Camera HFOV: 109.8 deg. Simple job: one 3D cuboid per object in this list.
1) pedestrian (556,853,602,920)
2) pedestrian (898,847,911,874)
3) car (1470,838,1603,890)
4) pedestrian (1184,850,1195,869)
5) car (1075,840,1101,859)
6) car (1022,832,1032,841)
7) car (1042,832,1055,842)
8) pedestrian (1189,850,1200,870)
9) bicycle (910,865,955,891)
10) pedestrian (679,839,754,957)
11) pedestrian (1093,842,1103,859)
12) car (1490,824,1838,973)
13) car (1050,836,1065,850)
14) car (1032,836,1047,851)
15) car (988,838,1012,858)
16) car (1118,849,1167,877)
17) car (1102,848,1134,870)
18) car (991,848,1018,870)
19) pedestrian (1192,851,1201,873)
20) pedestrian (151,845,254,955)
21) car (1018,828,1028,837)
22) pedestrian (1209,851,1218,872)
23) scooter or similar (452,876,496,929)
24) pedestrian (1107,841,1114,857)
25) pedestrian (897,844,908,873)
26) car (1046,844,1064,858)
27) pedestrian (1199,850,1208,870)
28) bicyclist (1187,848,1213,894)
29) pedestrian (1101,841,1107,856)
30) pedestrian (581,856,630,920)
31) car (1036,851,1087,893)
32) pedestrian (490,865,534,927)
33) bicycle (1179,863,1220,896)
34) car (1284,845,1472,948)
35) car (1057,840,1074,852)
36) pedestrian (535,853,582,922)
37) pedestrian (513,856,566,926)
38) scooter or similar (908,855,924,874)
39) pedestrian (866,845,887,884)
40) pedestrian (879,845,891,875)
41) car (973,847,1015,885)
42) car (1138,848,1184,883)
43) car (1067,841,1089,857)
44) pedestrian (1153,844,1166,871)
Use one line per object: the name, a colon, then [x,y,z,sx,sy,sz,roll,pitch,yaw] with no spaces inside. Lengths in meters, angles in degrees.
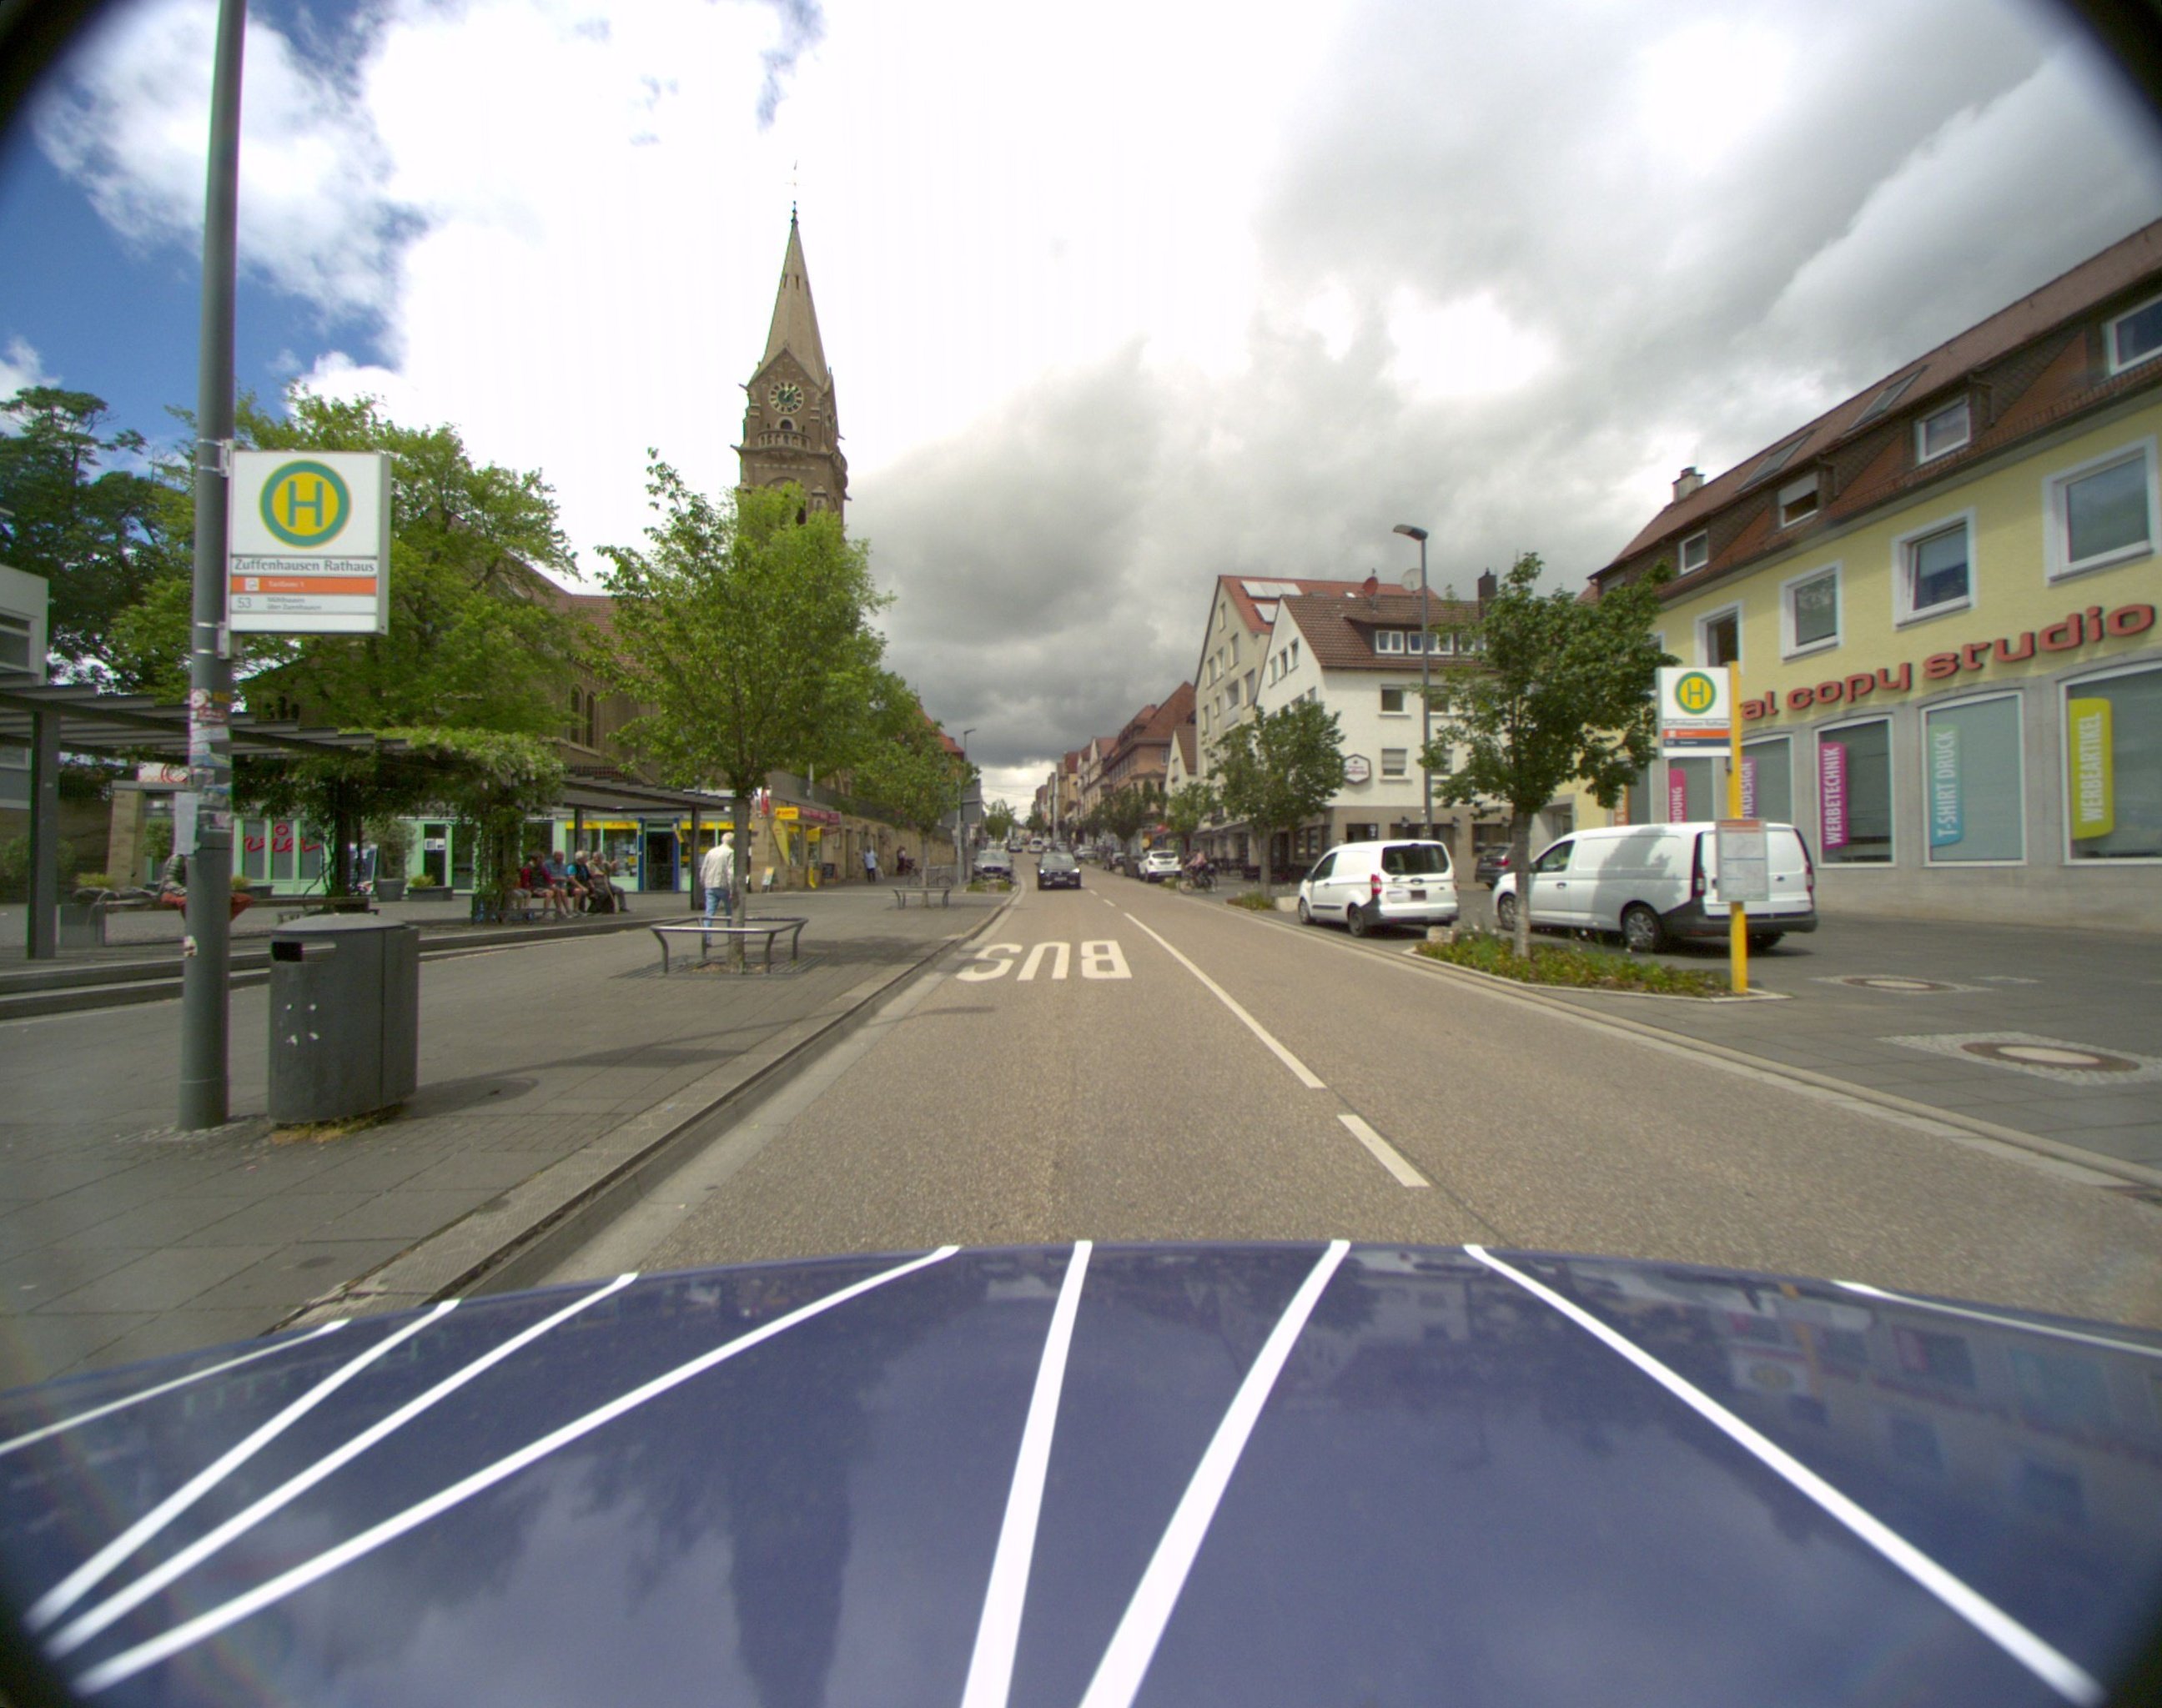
pedestrian: [-10.036,0.649,15.194,0.496,1.312,0.575,0,-2,3]
pedestrian: [-9.978,0.387,42.848,0.590,1.515,0.584,0,1,0]
car: [15.497,0.334,25.953,3.538,1.641,1.731,-1,0,-5]
pedestrian: [7.220,0.353,50.613,0.597,1.240,0.598,-1,2,-6]
car: [0.643,-0.450,71.693,1.731,1.565,4.450,-1,2,-8]
car: [-9.893,-3.197,139.085,1.687,1.492,4.149,0,2,-7]
car: [-5.034,-2.618,117.185,1.691,1.516,3.525,0,2,-7]
pedestrian: [7.126,0.360,47.629,0.551,1.260,0.598,-1,2,-6]
bicycle: [-5.880,0.948,30.193,1.732,0.990,0.345,1,1,-10]
pedestrian: [-5.342,0.621,11.158,0.686,1.672,0.715,0,1,10]
pedestrian: [1.737,-0.383,77.266,0.873,1.657,0.905,-1,3,-8]
car: [8.541,0.546,11.779,1.761,1.803,4.474,-2,1,-3]
car: [-3.095,-1.445,100.015,1.733,1.670,3.988,-1,2,-6]
car: [-5.263,-1.376,95.591,1.752,1.792,4.209,1,1,-5]
car: [-7.685,-0.607,72.557,1.890,1.837,5.027,0,2,-2]
car: [3.572,0.466,44.956,1.845,1.443,4.510,-2,2,-9]
car: [2.651,0.305,54.946,1.662,1.384,4.440,-1,2,-5]
car: [-5.509,0.316,54.680,1.760,1.433,4.085,0,2,-8]
pedestrian: [7.030,0.470,46.143,0.422,1.292,0.454,-1,1,-6]
pedestrian: [-10.718,0.548,9.283,0.625,1.300,0.546,0,0,3]
car: [-11.672,-4.333,152.423,1.831,1.680,3.855,0,2,-7]
pedestrian: [8.068,0.446,46.278,0.428,1.242,0.566,-1,1,-6]
scooter or similar: [-10.383,0.825,13.002,0.248,0.888,0.508,-1,-2,30]
pedestrian: [2.871,-0.523,74.546,0.615,1.573,0.641,-1,3,-8]
pedestrian: [-10.201,0.277,43.485,0.474,1.637,0.506,1,2,5]
car: [-2.590,-0.314,75.542,1.611,1.380,3.626,1,1,-5]
pedestrian: [7.718,0.363,47.780,0.396,1.242,0.499,-1,1,-6]
bicyclist: [4.418,0.614,28.180,0.779,1.685,0.508,0,1,-33]
pedestrian: [2.240,-0.537,74.585,0.497,1.470,0.528,-1,3,-8]
pedestrian: [-9.908,0.704,15.858,0.617,1.312,0.586,0,-2,2]
car: [-0.912,0.723,33.153,1.895,1.516,3.732,-2,3,-6]
pedestrian: [-10.105,0.745,13.504,0.477,1.082,0.368,0,-2,3]
bicycle: [4.399,0.924,28.161,1.656,1.082,0.412,-4,4,-35]
car: [5.523,0.688,14.800,1.661,1.662,4.348,-2,1,-4]
car: [-1.865,-0.984,91.556,1.733,1.423,3.499,-1,2,-6]
pedestrian: [-10.043,0.639,14.604,0.499,1.312,0.525,0,-2,4]
pedestrian: [-9.964,0.675,13.993,0.569,1.254,0.542,0,-2,3]
scooter or similar: [-9.484,0.617,43.691,0.813,1.066,0.560,1,2,5]
pedestrian: [-9.165,0.490,34.060,0.763,1.720,0.596,1,1,-26]
pedestrian: [-10.812,0.317,41.958,0.474,1.637,0.506,1,2,5]
car: [-4.346,0.538,37.722,1.934,1.714,4.570,1,1,-7]
car: [4.049,0.526,39.093,1.670,1.637,4.131,-2,1,-4]
car: [-0.353,-0.577,79.094,1.669,1.518,3.959,-2,2,-8]
pedestrian: [5.166,0.202,49.764,0.662,1.751,0.777,-1,3,-9]
